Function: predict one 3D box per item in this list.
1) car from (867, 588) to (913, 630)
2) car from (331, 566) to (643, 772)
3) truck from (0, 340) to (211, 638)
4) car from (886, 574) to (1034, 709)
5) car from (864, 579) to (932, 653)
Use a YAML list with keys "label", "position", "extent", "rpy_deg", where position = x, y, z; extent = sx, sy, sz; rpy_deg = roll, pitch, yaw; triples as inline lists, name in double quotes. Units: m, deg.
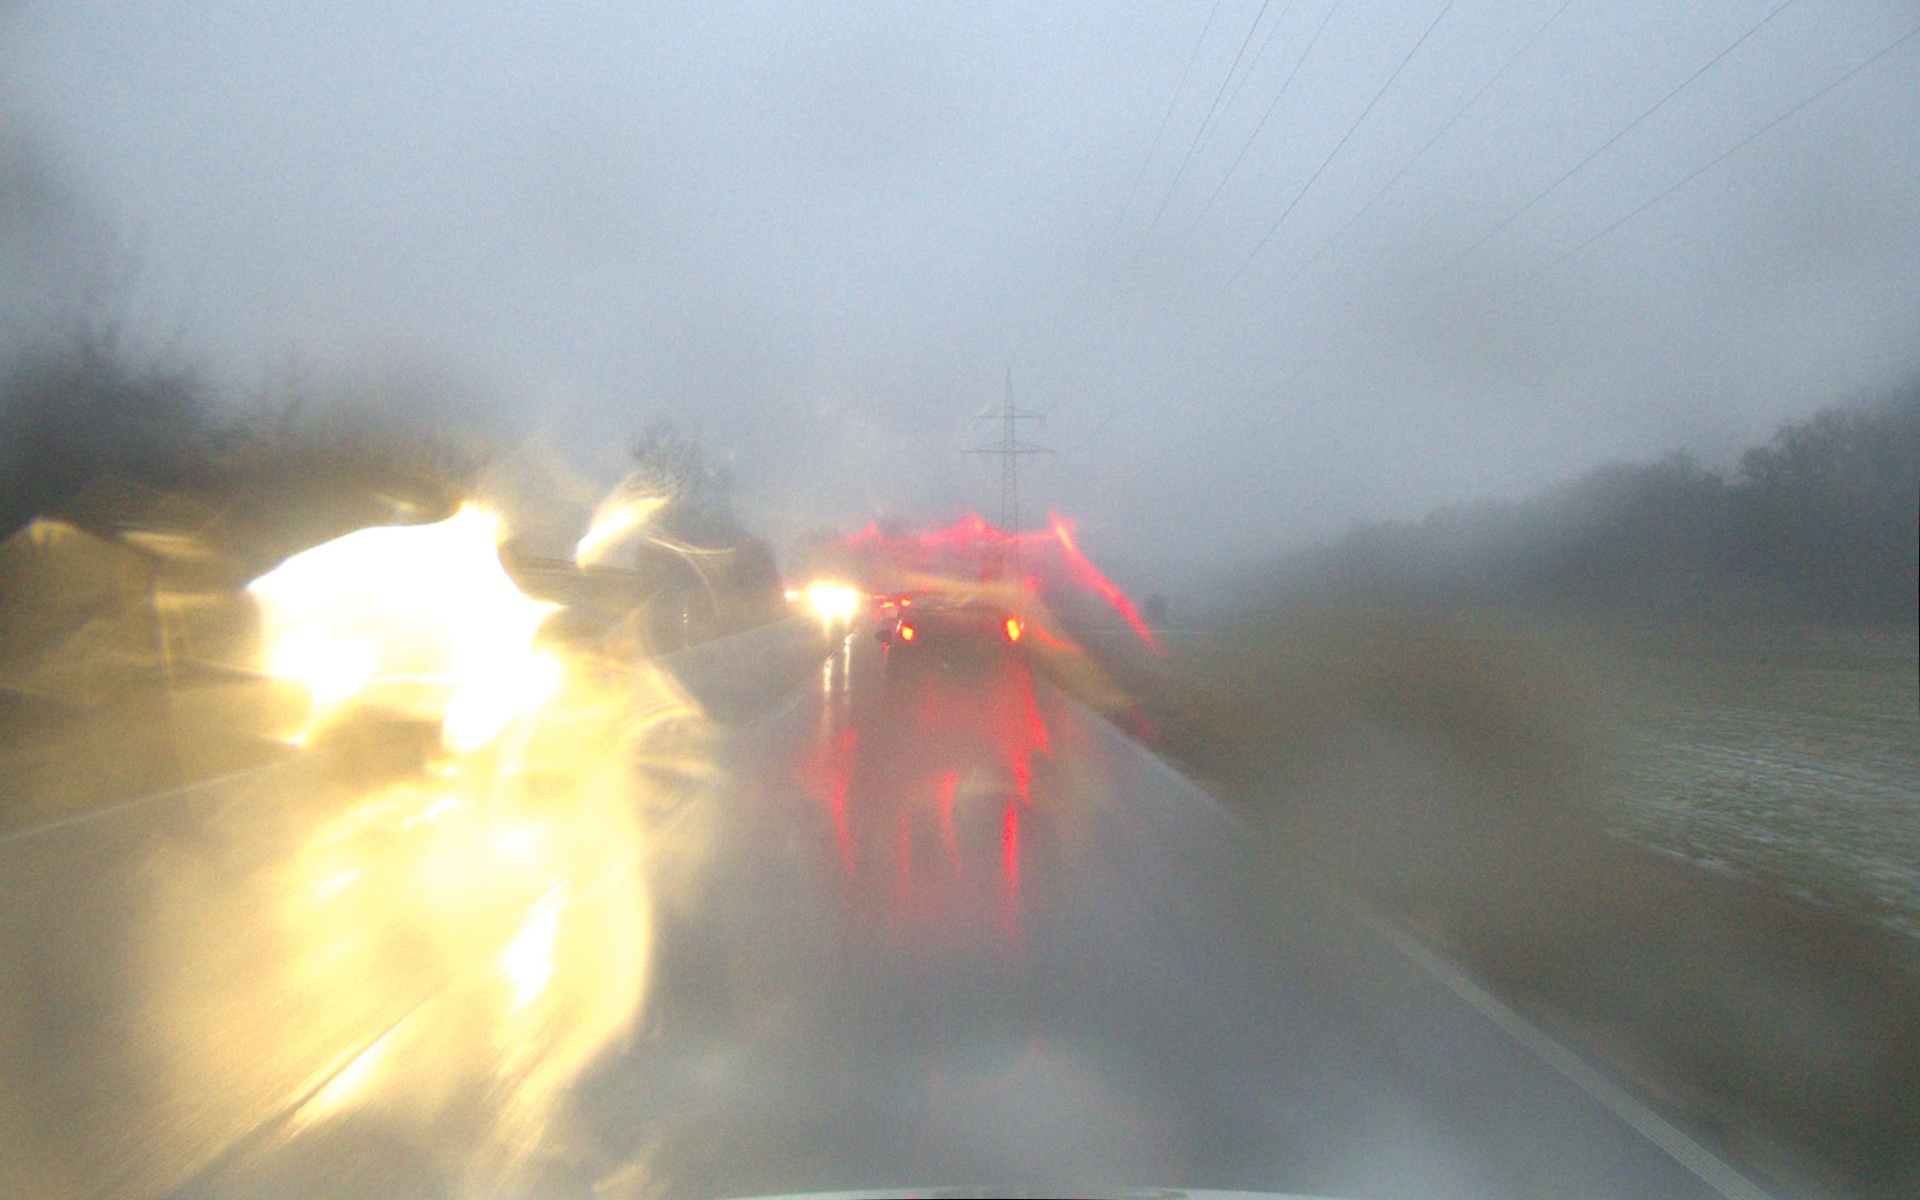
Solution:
- label: "car"
  position: [-2.892, 0.352, 67.770]
  extent: [1.734, 1.619, 4.161]
  rpy_deg: [1, 0, -4]
- label: "car"
  position: [-4.167, 0.533, 15.256]
  extent: [1.733, 1.619, 4.163]
  rpy_deg: [1, 0, -1]
- label: "truck"
  position: [-28.962, -2.962, 35.821]
  extent: [7.389, 7.848, 40.144]
  rpy_deg: [1, 0, 0]
- label: "car"
  position: [-0.064, 0.445, 19.209]
  extent: [1.471, 1.423, 3.197]
  rpy_deg: [1, 0, -4]
- label: "car"
  position: [-1.838, 0.440, 47.990]
  extent: [1.816, 2.049, 3.996]
  rpy_deg: [1, 0, -4]
